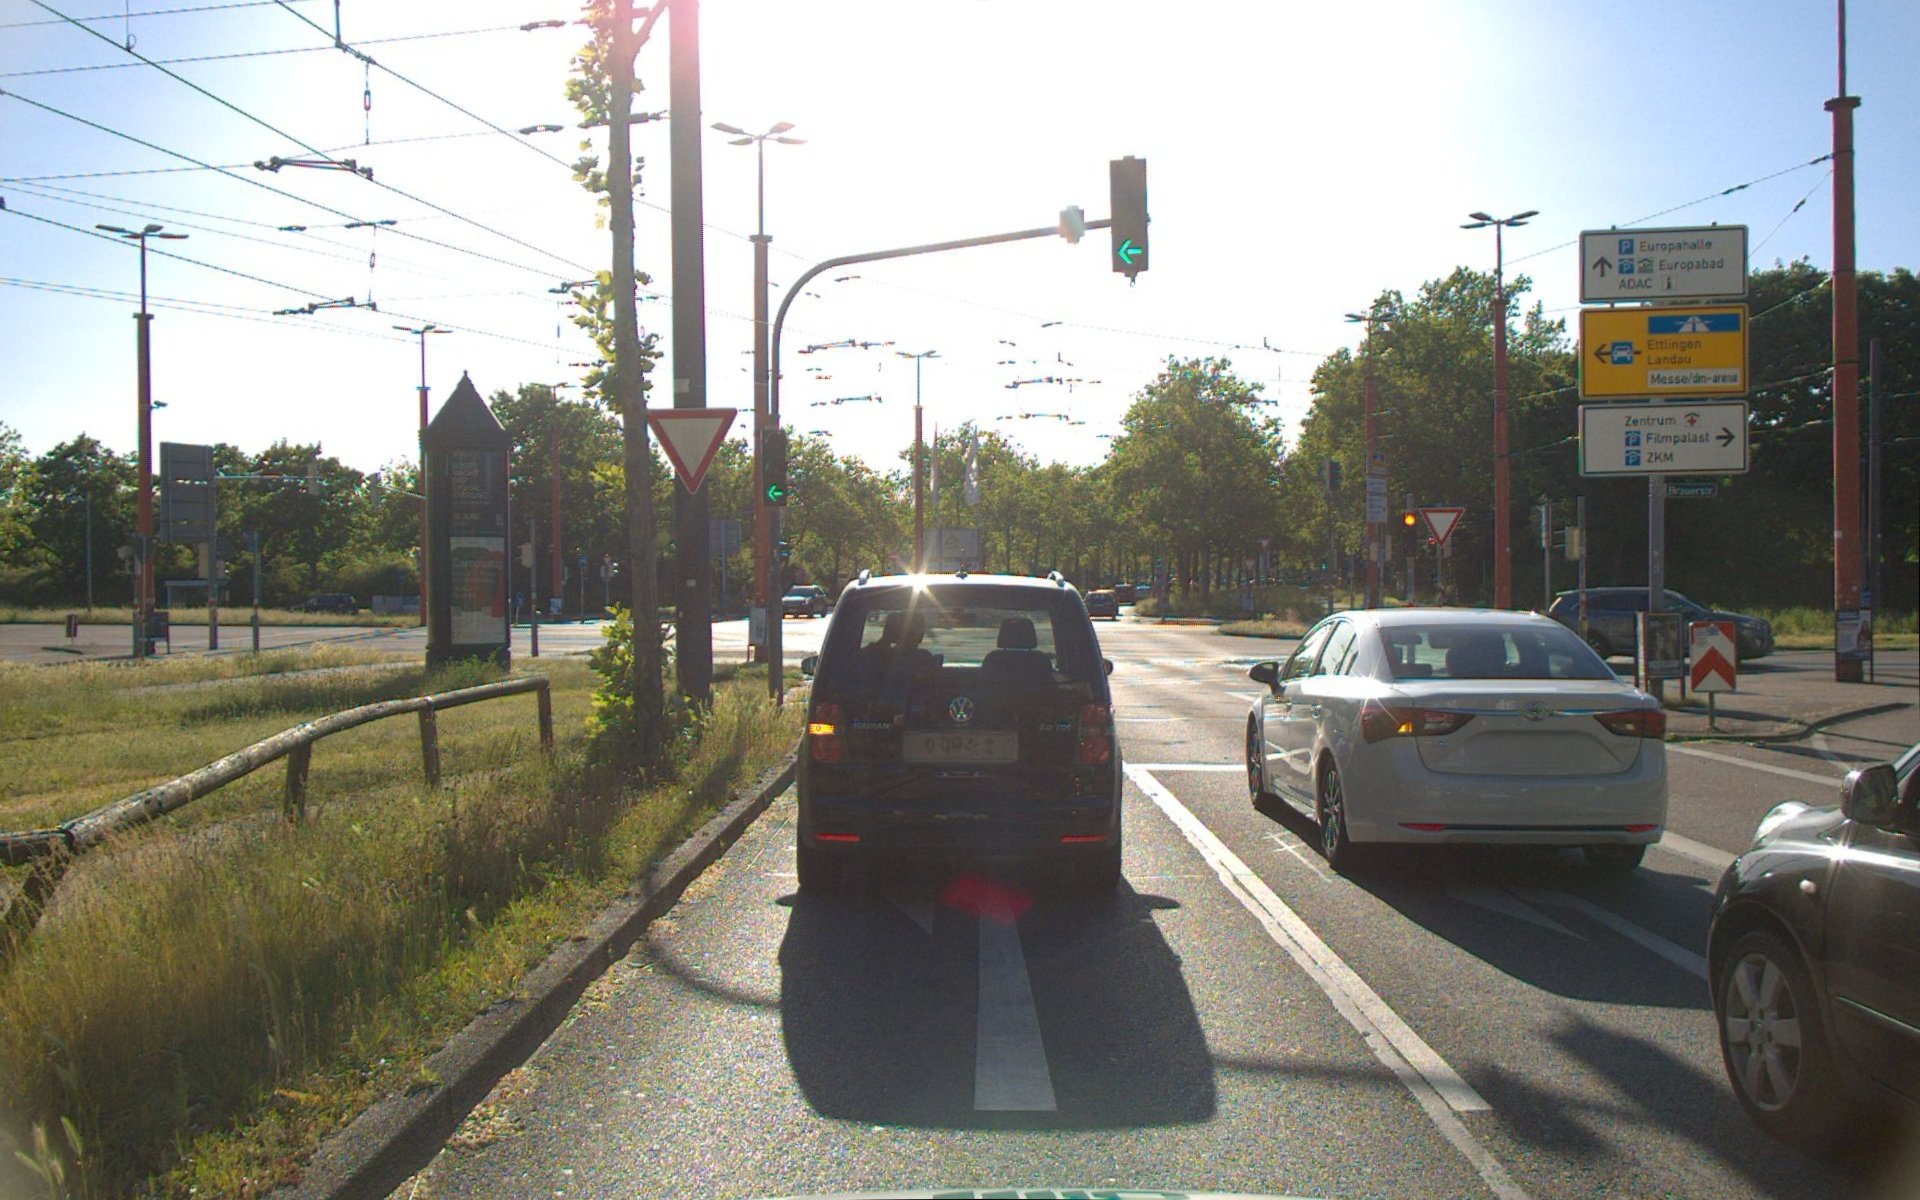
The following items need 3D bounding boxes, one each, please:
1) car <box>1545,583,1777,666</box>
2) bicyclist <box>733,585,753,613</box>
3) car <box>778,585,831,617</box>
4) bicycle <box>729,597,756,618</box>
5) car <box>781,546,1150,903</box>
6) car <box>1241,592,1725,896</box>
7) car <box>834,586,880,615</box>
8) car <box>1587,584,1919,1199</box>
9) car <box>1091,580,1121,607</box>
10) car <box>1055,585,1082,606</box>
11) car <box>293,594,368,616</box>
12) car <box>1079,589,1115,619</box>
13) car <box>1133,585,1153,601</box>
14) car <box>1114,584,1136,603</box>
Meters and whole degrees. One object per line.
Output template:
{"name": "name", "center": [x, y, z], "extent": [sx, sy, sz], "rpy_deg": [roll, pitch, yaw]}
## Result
{"name": "car", "center": [15.461, 0.508, 36.506], "extent": [4.587, 1.734, 1.998], "rpy_deg": [0, 0, 27]}
{"name": "bicyclist", "center": [-12.342, -0.069, 94.134], "extent": [0.743, 1.585, 0.982], "rpy_deg": [-1, 1, 17]}
{"name": "car", "center": [-8.779, 0.026, 93.598], "extent": [1.861, 1.756, 4.658], "rpy_deg": [0, 1, 10]}
{"name": "bicycle", "center": [-12.353, 0.402, 94.061], "extent": [0.747, 1.110, 2.017], "rpy_deg": [-1, 1, 16]}
{"name": "car", "center": [0.010, 0.560, 10.259], "extent": [1.731, 1.672, 4.923], "rpy_deg": [0, 1, 0]}
{"name": "car", "center": [2.988, 0.709, 10.458], "extent": [1.731, 1.489, 4.367], "rpy_deg": [0, 1, 1]}
{"name": "car", "center": [-5.667, -0.006, 91.289], "extent": [1.730, 1.565, 4.095], "rpy_deg": [0, 1, 9]}
{"name": "car", "center": [3.205, 0.720, 3.859], "extent": [1.699, 1.508, 4.622], "rpy_deg": [0, 1, -1]}
{"name": "car", "center": [9.226, -0.410, 104.519], "extent": [1.833, 1.655, 4.002], "rpy_deg": [1, 0, 5]}
{"name": "car", "center": [7.836, -0.318, 119.212], "extent": [1.752, 1.412, 4.053], "rpy_deg": [1, 1, 7]}
{"name": "car", "center": [-37.085, 0.286, 97.443], "extent": [3.907, 1.288, 1.943], "rpy_deg": [0, 0, 24]}
{"name": "car", "center": [7.038, 0.191, 84.947], "extent": [1.752, 1.412, 4.052], "rpy_deg": [1, 1, 5]}
{"name": "car", "center": [17.278, -0.657, 156.307], "extent": [1.751, 1.412, 4.053], "rpy_deg": [1, 1, 8]}
{"name": "car", "center": [13.593, -0.530, 136.121], "extent": [1.752, 1.528, 4.053], "rpy_deg": [1, 1, 7]}
